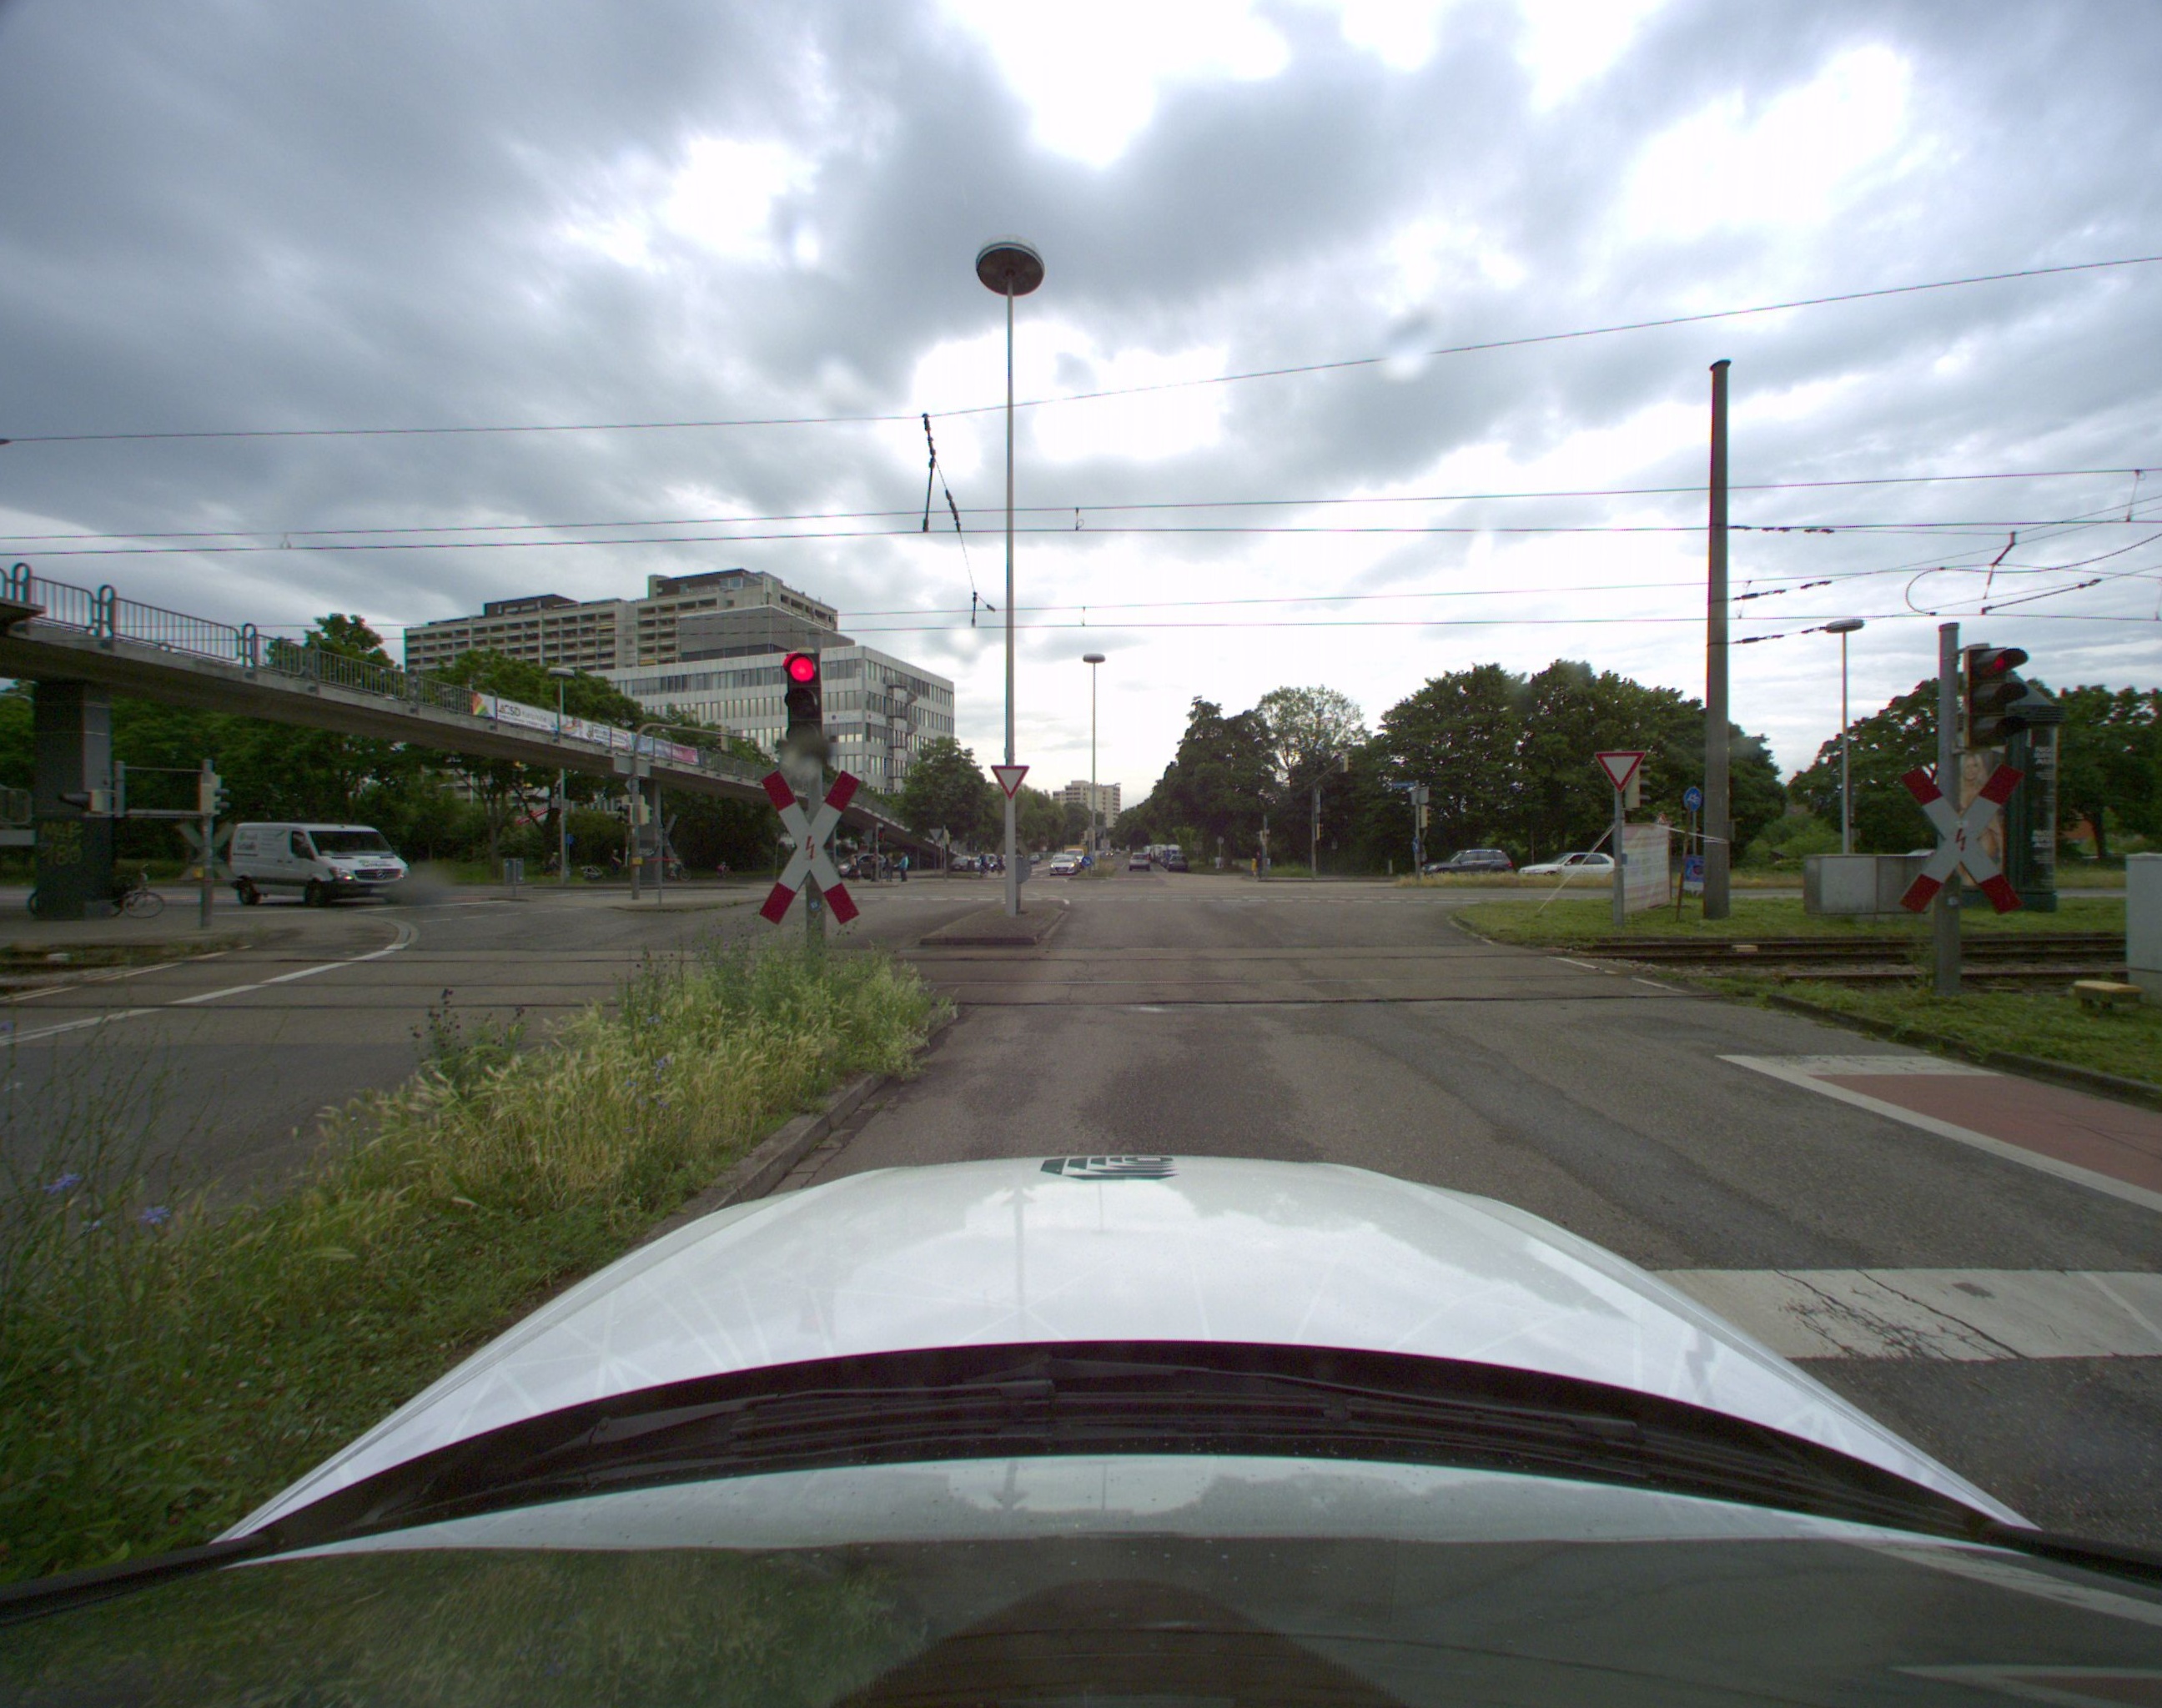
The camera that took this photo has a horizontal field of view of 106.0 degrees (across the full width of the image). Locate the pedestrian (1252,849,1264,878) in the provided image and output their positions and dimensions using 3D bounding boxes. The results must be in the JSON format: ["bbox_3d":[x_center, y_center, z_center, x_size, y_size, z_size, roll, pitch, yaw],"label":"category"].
[{"bbox_3d":[10.699,0.578,49.163,0.654,1.750,0.459,0,0,1],"label":"pedestrian"}]

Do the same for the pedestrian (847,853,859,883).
[{"bbox_3d":[-12.896,0.800,46.110,0.619,1.691,0.403,0,0,-12],"label":"pedestrian"}]

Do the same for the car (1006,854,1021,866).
[{"bbox_3d":[-8.934,0.783,108.114,1.439,1.552,3.667,0,0,3],"label":"car"}]

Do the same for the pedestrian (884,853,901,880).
[{"bbox_3d":[-10.704,0.715,46.261,0.917,1.511,0.402,0,0,-10],"label":"pedestrian"}]

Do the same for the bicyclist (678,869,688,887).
[{"bbox_3d":[-26.216,1.570,53.642,0.403,1.181,0.378,0,1,4],"label":"bicyclist"}]

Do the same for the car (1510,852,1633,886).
[{"bbox_3d":[20.391,0.621,33.982,4.120,1.357,1.648,0,0,2],"label":"car"}]

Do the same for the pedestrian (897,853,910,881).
[{"bbox_3d":[-10.073,0.741,46.231,0.685,1.605,0.487,0,0,-3],"label":"pedestrian"}]

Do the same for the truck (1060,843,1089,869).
[{"bbox_3d":[-0.521,0.122,72.276,2.146,2.199,5.845,0,0,3],"label":"truck"}]

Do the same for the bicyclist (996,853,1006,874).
[{"bbox_3d":[-6.005,0.692,61.385,0.676,1.594,0.695,0,-1,1],"label":"bicyclist"}]

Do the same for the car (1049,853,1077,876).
[{"bbox_3d":[-1.232,0.725,58.093,1.782,1.519,4.327,0,0,2],"label":"car"}]

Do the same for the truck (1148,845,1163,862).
[{"bbox_3d":[12.092,-0.069,132.077,1.987,2.573,5.377,0,-1,0],"label":"truck"}]

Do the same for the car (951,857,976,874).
[{"bbox_3d":[-11.210,1.042,78.088,1.665,1.552,3.894,0,0,3],"label":"car"}]

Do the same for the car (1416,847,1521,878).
[{"bbox_3d":[19.689,0.424,41.506,4.447,1.504,1.847,0,0,2],"label":"car"}]

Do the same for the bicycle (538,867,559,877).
[{"bbox_3d":[-34.455,1.158,52.662,1.145,0.668,0.265,0,0,-6],"label":"bicycle"}]

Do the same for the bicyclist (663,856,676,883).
[{"bbox_3d":[-26.180,0.982,51.793,0.563,1.644,0.532,0,-1,2],"label":"bicyclist"}]

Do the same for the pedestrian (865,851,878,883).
[{"bbox_3d":[-11.893,0.740,46.207,0.636,1.803,0.800,0,0,-7],"label":"pedestrian"}]

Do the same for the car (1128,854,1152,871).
[{"bbox_3d":[5.269,0.743,73.643,2.013,1.505,4.002,0,0,2],"label":"car"}]

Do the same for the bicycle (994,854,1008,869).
[{"bbox_3d":[-5.988,0.528,61.260,0.724,1.101,2.265,0,0,2],"label":"bicycle"}]

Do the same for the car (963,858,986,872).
[{"bbox_3d":[-10.865,1.102,83.578,1.665,1.387,3.898,0,0,3],"label":"car"}]

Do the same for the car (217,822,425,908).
[{"bbox_3d":[-21.891,0.280,23.482,5.148,2.292,2.151,-1,1,19],"label":"car"}]

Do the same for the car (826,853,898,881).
[{"bbox_3d":[-14.177,0.827,52.873,4.229,1.734,1.610,0,0,-40],"label":"car"}]

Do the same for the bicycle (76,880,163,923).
[{"bbox_3d":[-21.640,1.053,18.329,2.017,0.921,0.375,0,0,13],"label":"bicycle"}]

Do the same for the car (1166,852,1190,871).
[{"bbox_3d":[8.791,0.619,73.890,1.777,1.662,4.002,0,0,2],"label":"car"}]

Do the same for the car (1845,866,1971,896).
[{"bbox_3d":[42.154,1.358,41.584,4.447,1.440,1.847,0,0,2],"label":"car"}]

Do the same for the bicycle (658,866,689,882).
[{"bbox_3d":[-25.912,1.279,51.811,0.628,0.925,2.524,0,0,2],"label":"bicycle"}]

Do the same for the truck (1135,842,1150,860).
[{"bbox_3d":[10.786,-0.449,142.912,1.988,3.009,5.768,0,-1,-1],"label":"truck"}]

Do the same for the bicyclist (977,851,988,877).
[{"bbox_3d":[-6.732,0.704,55.880,0.642,1.768,0.647,0,0,1],"label":"bicyclist"}]

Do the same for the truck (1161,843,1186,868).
[{"bbox_3d":[10.271,0.205,90.667,2.166,2.656,6.249,-1,0,2],"label":"truck"}]

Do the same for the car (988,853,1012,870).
[{"bbox_3d":[-7.625,0.684,76.974,1.664,1.552,4.004,0,0,4],"label":"car"}]

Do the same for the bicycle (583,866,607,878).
[{"bbox_3d":[-31.257,1.153,52.408,1.303,0.692,0.287,0,0,-34],"label":"bicycle"}]

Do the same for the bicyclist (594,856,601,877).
[{"bbox_3d":[-31.156,0.800,52.498,0.385,1.303,0.275,0,0,-35],"label":"bicyclist"}]

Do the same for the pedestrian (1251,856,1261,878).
[{"bbox_3d":[10.689,0.775,49.748,0.525,1.342,0.525,0,0,1],"label":"pedestrian"}]

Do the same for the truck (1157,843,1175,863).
[{"bbox_3d":[12.495,-0.177,119.986,1.988,2.838,5.727,0,0,-2],"label":"truck"}]

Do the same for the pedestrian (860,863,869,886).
[{"bbox_3d":[-15.201,1.412,57.188,0.580,1.579,0.777,0,0,-16],"label":"pedestrian"}]

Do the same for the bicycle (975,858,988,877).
[{"bbox_3d":[-6.798,0.915,55.739,0.541,1.267,2.112,0,0,2],"label":"bicycle"}]
